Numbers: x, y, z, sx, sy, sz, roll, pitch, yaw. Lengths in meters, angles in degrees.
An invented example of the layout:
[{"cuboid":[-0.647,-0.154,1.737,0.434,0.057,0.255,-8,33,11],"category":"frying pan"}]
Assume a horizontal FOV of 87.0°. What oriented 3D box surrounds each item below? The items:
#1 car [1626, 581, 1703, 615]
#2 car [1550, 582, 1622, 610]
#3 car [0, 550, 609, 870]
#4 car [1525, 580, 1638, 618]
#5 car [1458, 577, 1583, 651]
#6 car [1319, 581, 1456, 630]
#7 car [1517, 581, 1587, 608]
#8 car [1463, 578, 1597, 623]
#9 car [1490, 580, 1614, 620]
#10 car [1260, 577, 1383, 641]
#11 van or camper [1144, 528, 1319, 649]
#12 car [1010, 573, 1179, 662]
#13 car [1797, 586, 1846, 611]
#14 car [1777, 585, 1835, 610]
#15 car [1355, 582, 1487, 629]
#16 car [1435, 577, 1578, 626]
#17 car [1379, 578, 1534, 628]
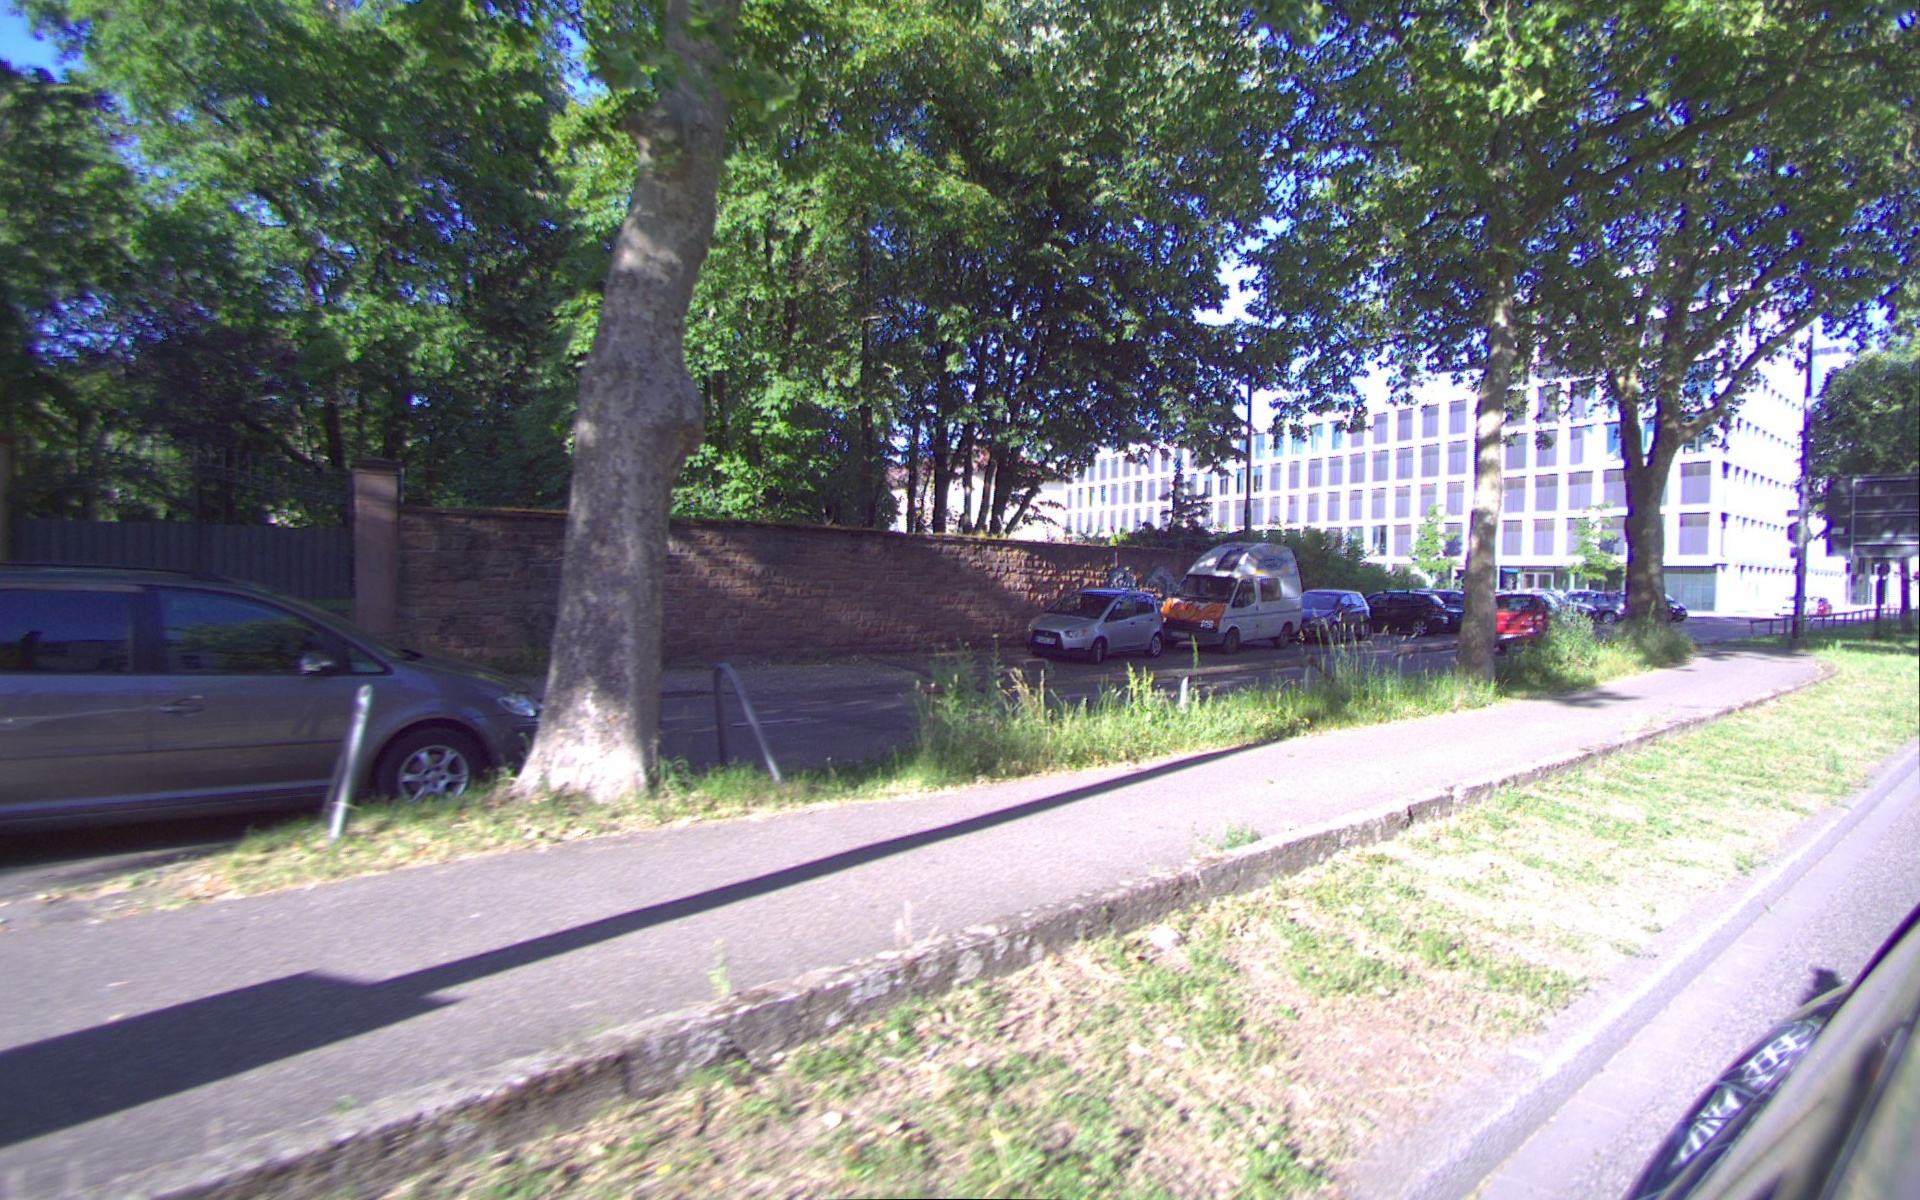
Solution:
[{"cuboid":[35.398,-0.112,50.893,1.433,1.568,2.778,-1,3,-31],"category":"car"},{"cuboid":[37.251,-0.254,60.215,3.800,1.555,1.755,-1,0,-22],"category":"car"},{"cuboid":[-4.811,0.555,6.464,4.540,1.655,1.798,-1,0,-36],"category":"car"},{"cuboid":[28.694,-0.075,46.810,1.685,1.485,4.090,-1,4,-39],"category":"car"},{"cuboid":[13.797,0.286,24.818,1.990,1.660,3.943,0,1,40],"category":"car"},{"cuboid":[14.645,0.144,34.794,1.736,1.523,3.991,0,2,-43],"category":"car"},{"cuboid":[36.543,-0.352,62.451,3.868,1.559,1.726,-1,0,-22],"category":"car"},{"cuboid":[23.066,-0.006,41.065,1.875,1.496,4.334,1,3,-44],"category":"car"},{"cuboid":[25.086,-0.032,42.996,1.752,1.517,4.197,0,3,-43],"category":"car"},{"cuboid":[10.609,0.201,29.588,1.993,1.592,3.940,6,5,41],"category":"car"},{"cuboid":[7.035,-0.350,25.954,4.882,2.764,1.996,-1,5,-44],"category":"van or camper"},{"cuboid":[3.033,0.316,22.225,1.837,1.637,3.945,6,4,38],"category":"car"},{"cuboid":[59.625,-0.137,70.007,4.198,1.503,1.869,-1,5,-41],"category":"car"},{"cuboid":[55.828,-0.196,66.772,4.322,1.503,2.000,-1,5,-38],"category":"car"},{"cuboid":[16.398,0.142,36.149,1.590,1.409,3.999,0,4,-37],"category":"car"},{"cuboid":[21.093,0.019,39.204,1.963,1.427,4.396,0,6,-38],"category":"car"},{"cuboid":[18.353,0.055,37.613,1.965,1.422,4.732,0,5,-40],"category":"car"}]
